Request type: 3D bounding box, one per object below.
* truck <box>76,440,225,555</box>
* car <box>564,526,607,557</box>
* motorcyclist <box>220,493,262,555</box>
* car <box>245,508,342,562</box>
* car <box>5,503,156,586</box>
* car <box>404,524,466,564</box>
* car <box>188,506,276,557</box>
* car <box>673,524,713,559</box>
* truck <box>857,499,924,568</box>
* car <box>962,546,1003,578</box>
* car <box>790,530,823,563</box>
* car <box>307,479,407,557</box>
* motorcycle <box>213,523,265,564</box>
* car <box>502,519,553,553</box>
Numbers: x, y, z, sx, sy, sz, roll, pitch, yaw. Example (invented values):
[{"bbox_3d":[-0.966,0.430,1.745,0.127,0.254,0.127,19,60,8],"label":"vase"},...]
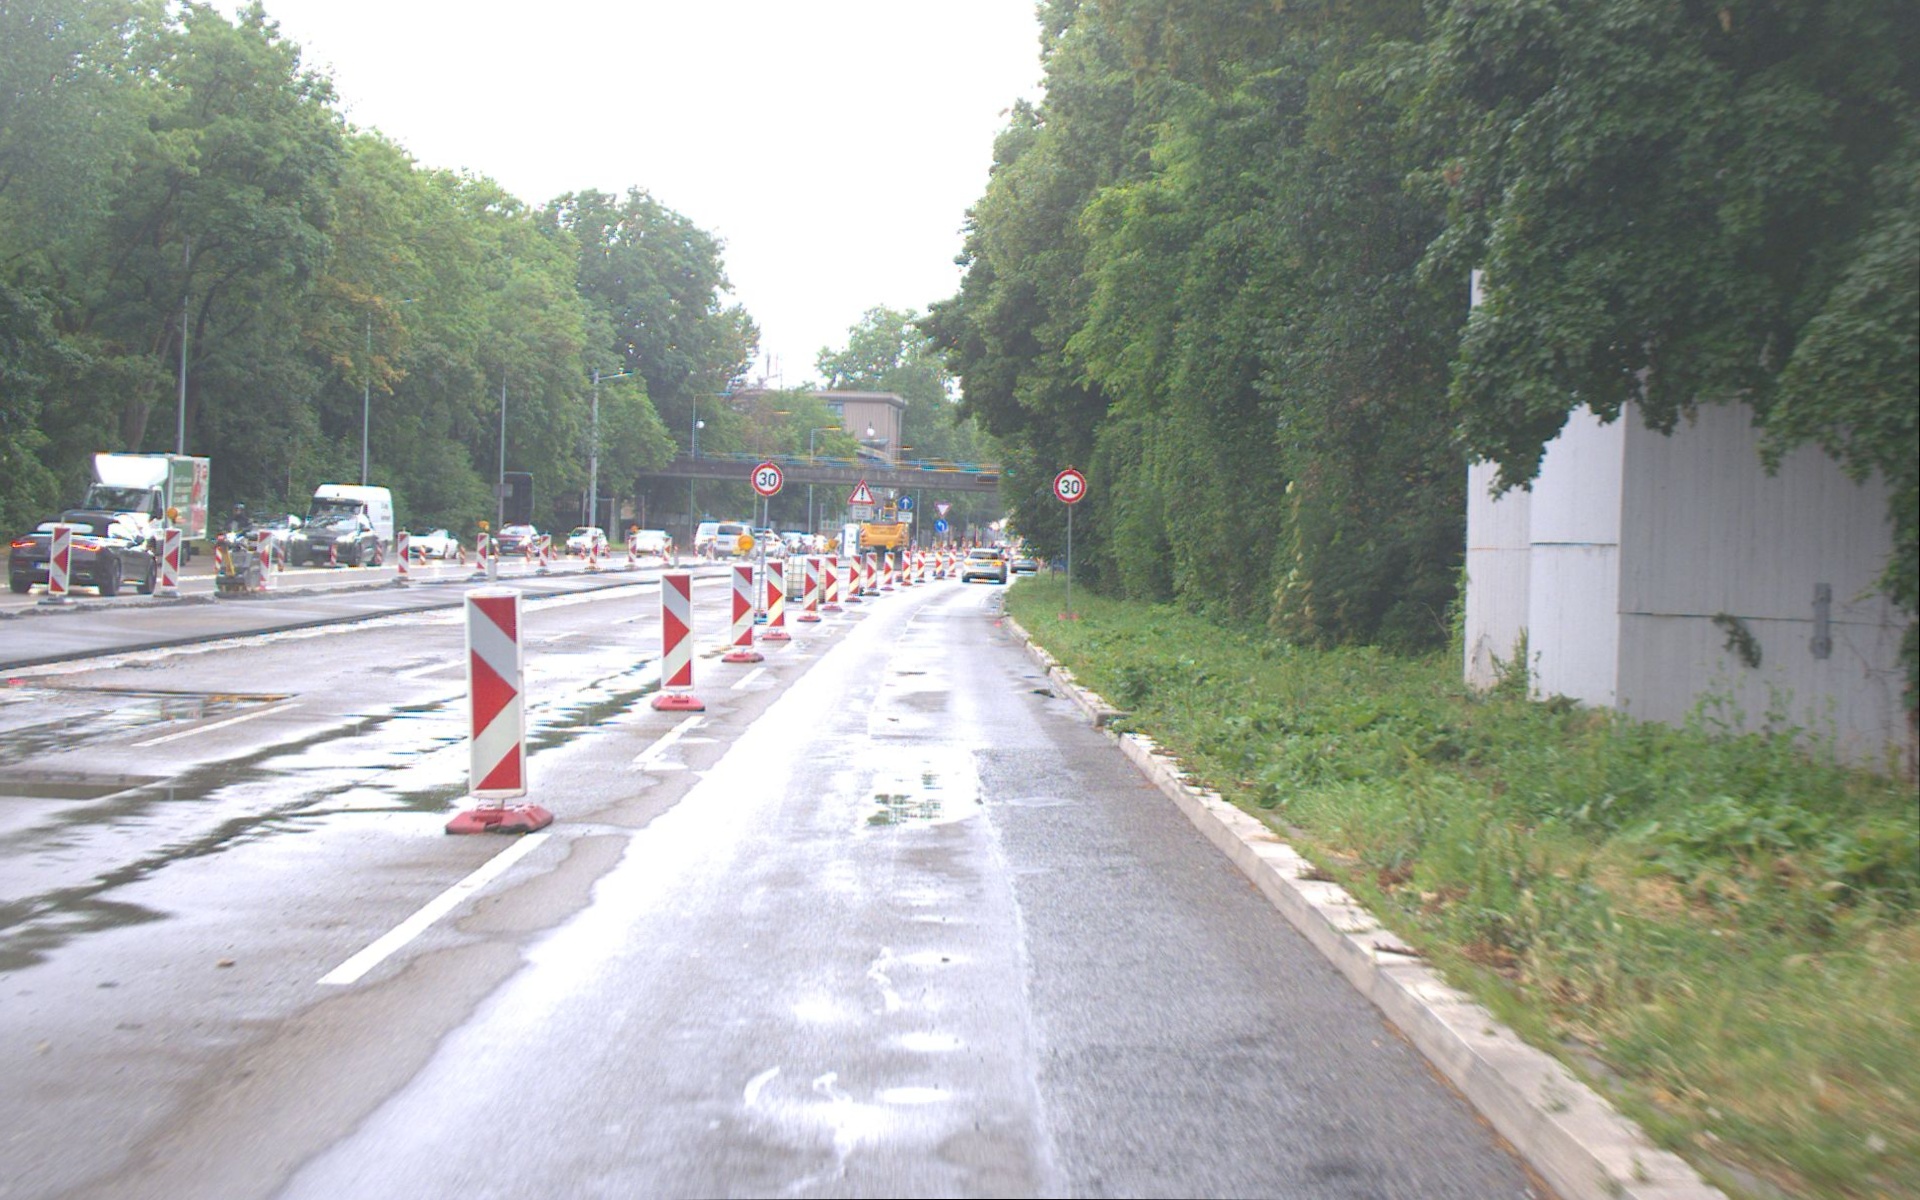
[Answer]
[{"bbox_3d":[-21.803,-2.745,92.931,2.246,2.930,6.935,2,1,1],"label":"truck"},{"bbox_3d":[-18.911,-2.952,173.751,1.670,1.480,4.049,2,1,1],"label":"car"},{"bbox_3d":[-18.527,-1.960,88.548,0.828,1.559,0.927,3,1,0],"label":"motorcyclist"},{"bbox_3d":[-19.956,-1.956,103.102,1.960,1.526,4.437,2,1,1],"label":"car"},{"bbox_3d":[-15.853,-1.010,62.108,1.607,1.399,4.041,2,1,1],"label":"car"},{"bbox_3d":[-20.497,-2.197,134.441,1.670,1.480,4.320,2,1,1],"label":"car"},{"bbox_3d":[-22.164,-2.079,104.775,1.670,1.480,4.320,2,1,1],"label":"car"},{"bbox_3d":[-14.227,-3.144,183.281,1.670,1.802,4.320,2,1,1],"label":"car"},{"bbox_3d":[-3.635,-3.566,184.195,3.259,3.485,13.871,2,1,0],"label":"truck"},{"bbox_3d":[0.954,-1.612,146.313,1.697,1.331,3.491,0,1,0],"label":"car"},{"bbox_3d":[-9.217,-3.238,206.638,1.670,1.802,4.320,2,2,1],"label":"car"},{"bbox_3d":[-20.875,-2.827,119.351,2.100,2.571,6.854,2,1,1],"label":"car"},{"bbox_3d":[-18.553,-1.448,88.494,0.828,1.011,2.367,3,1,0],"label":"motorcycle"},{"bbox_3d":[-19.584,-2.893,155.887,1.670,1.480,4.320,2,1,1],"label":"car"}]
